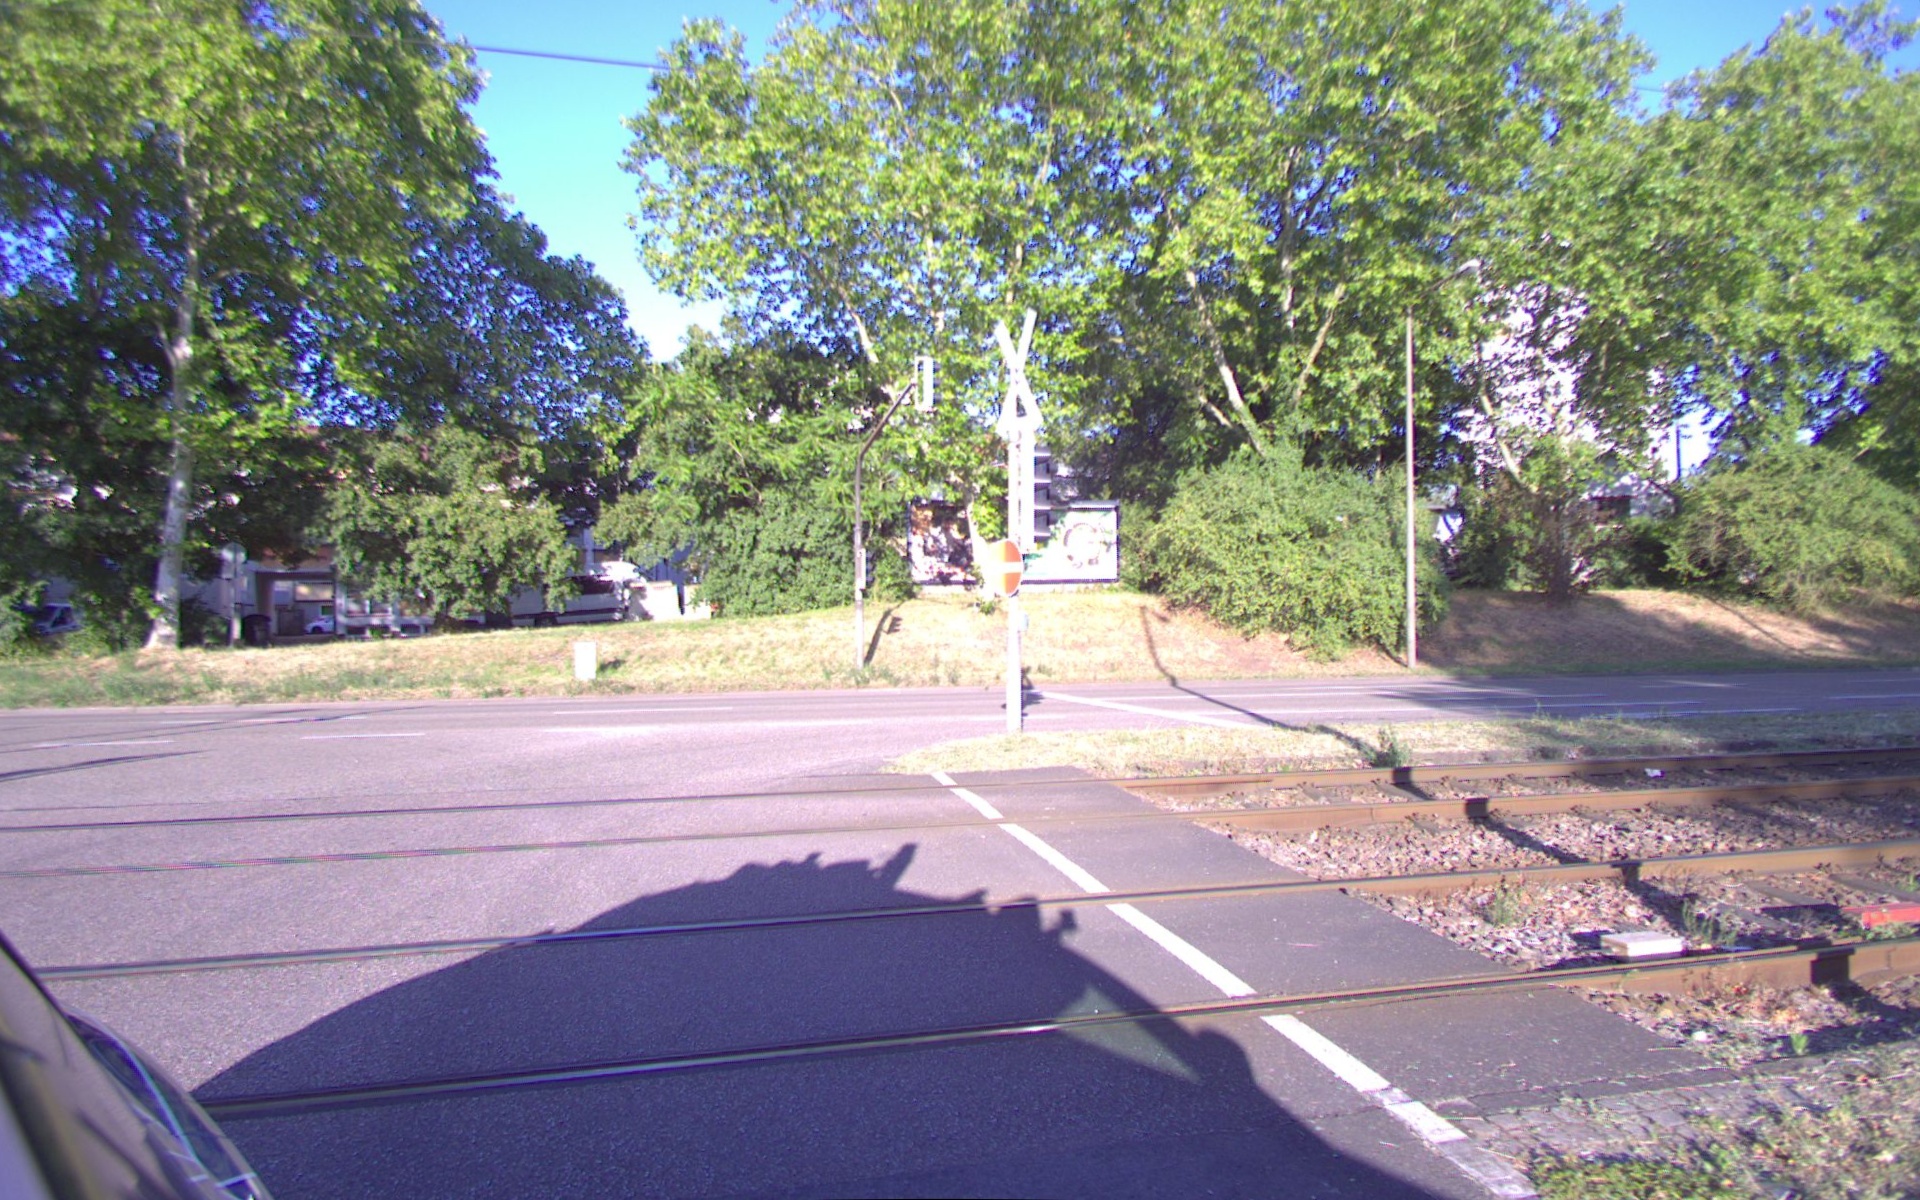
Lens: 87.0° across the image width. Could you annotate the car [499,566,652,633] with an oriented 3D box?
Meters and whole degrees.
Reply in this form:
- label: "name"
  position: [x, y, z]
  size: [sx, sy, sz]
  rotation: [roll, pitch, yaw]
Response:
- label: "car"
  position: [-15.432, -0.008, 40.842]
  size: [5.539, 2.532, 1.810]
  rotation: [-1, -2, -8]
